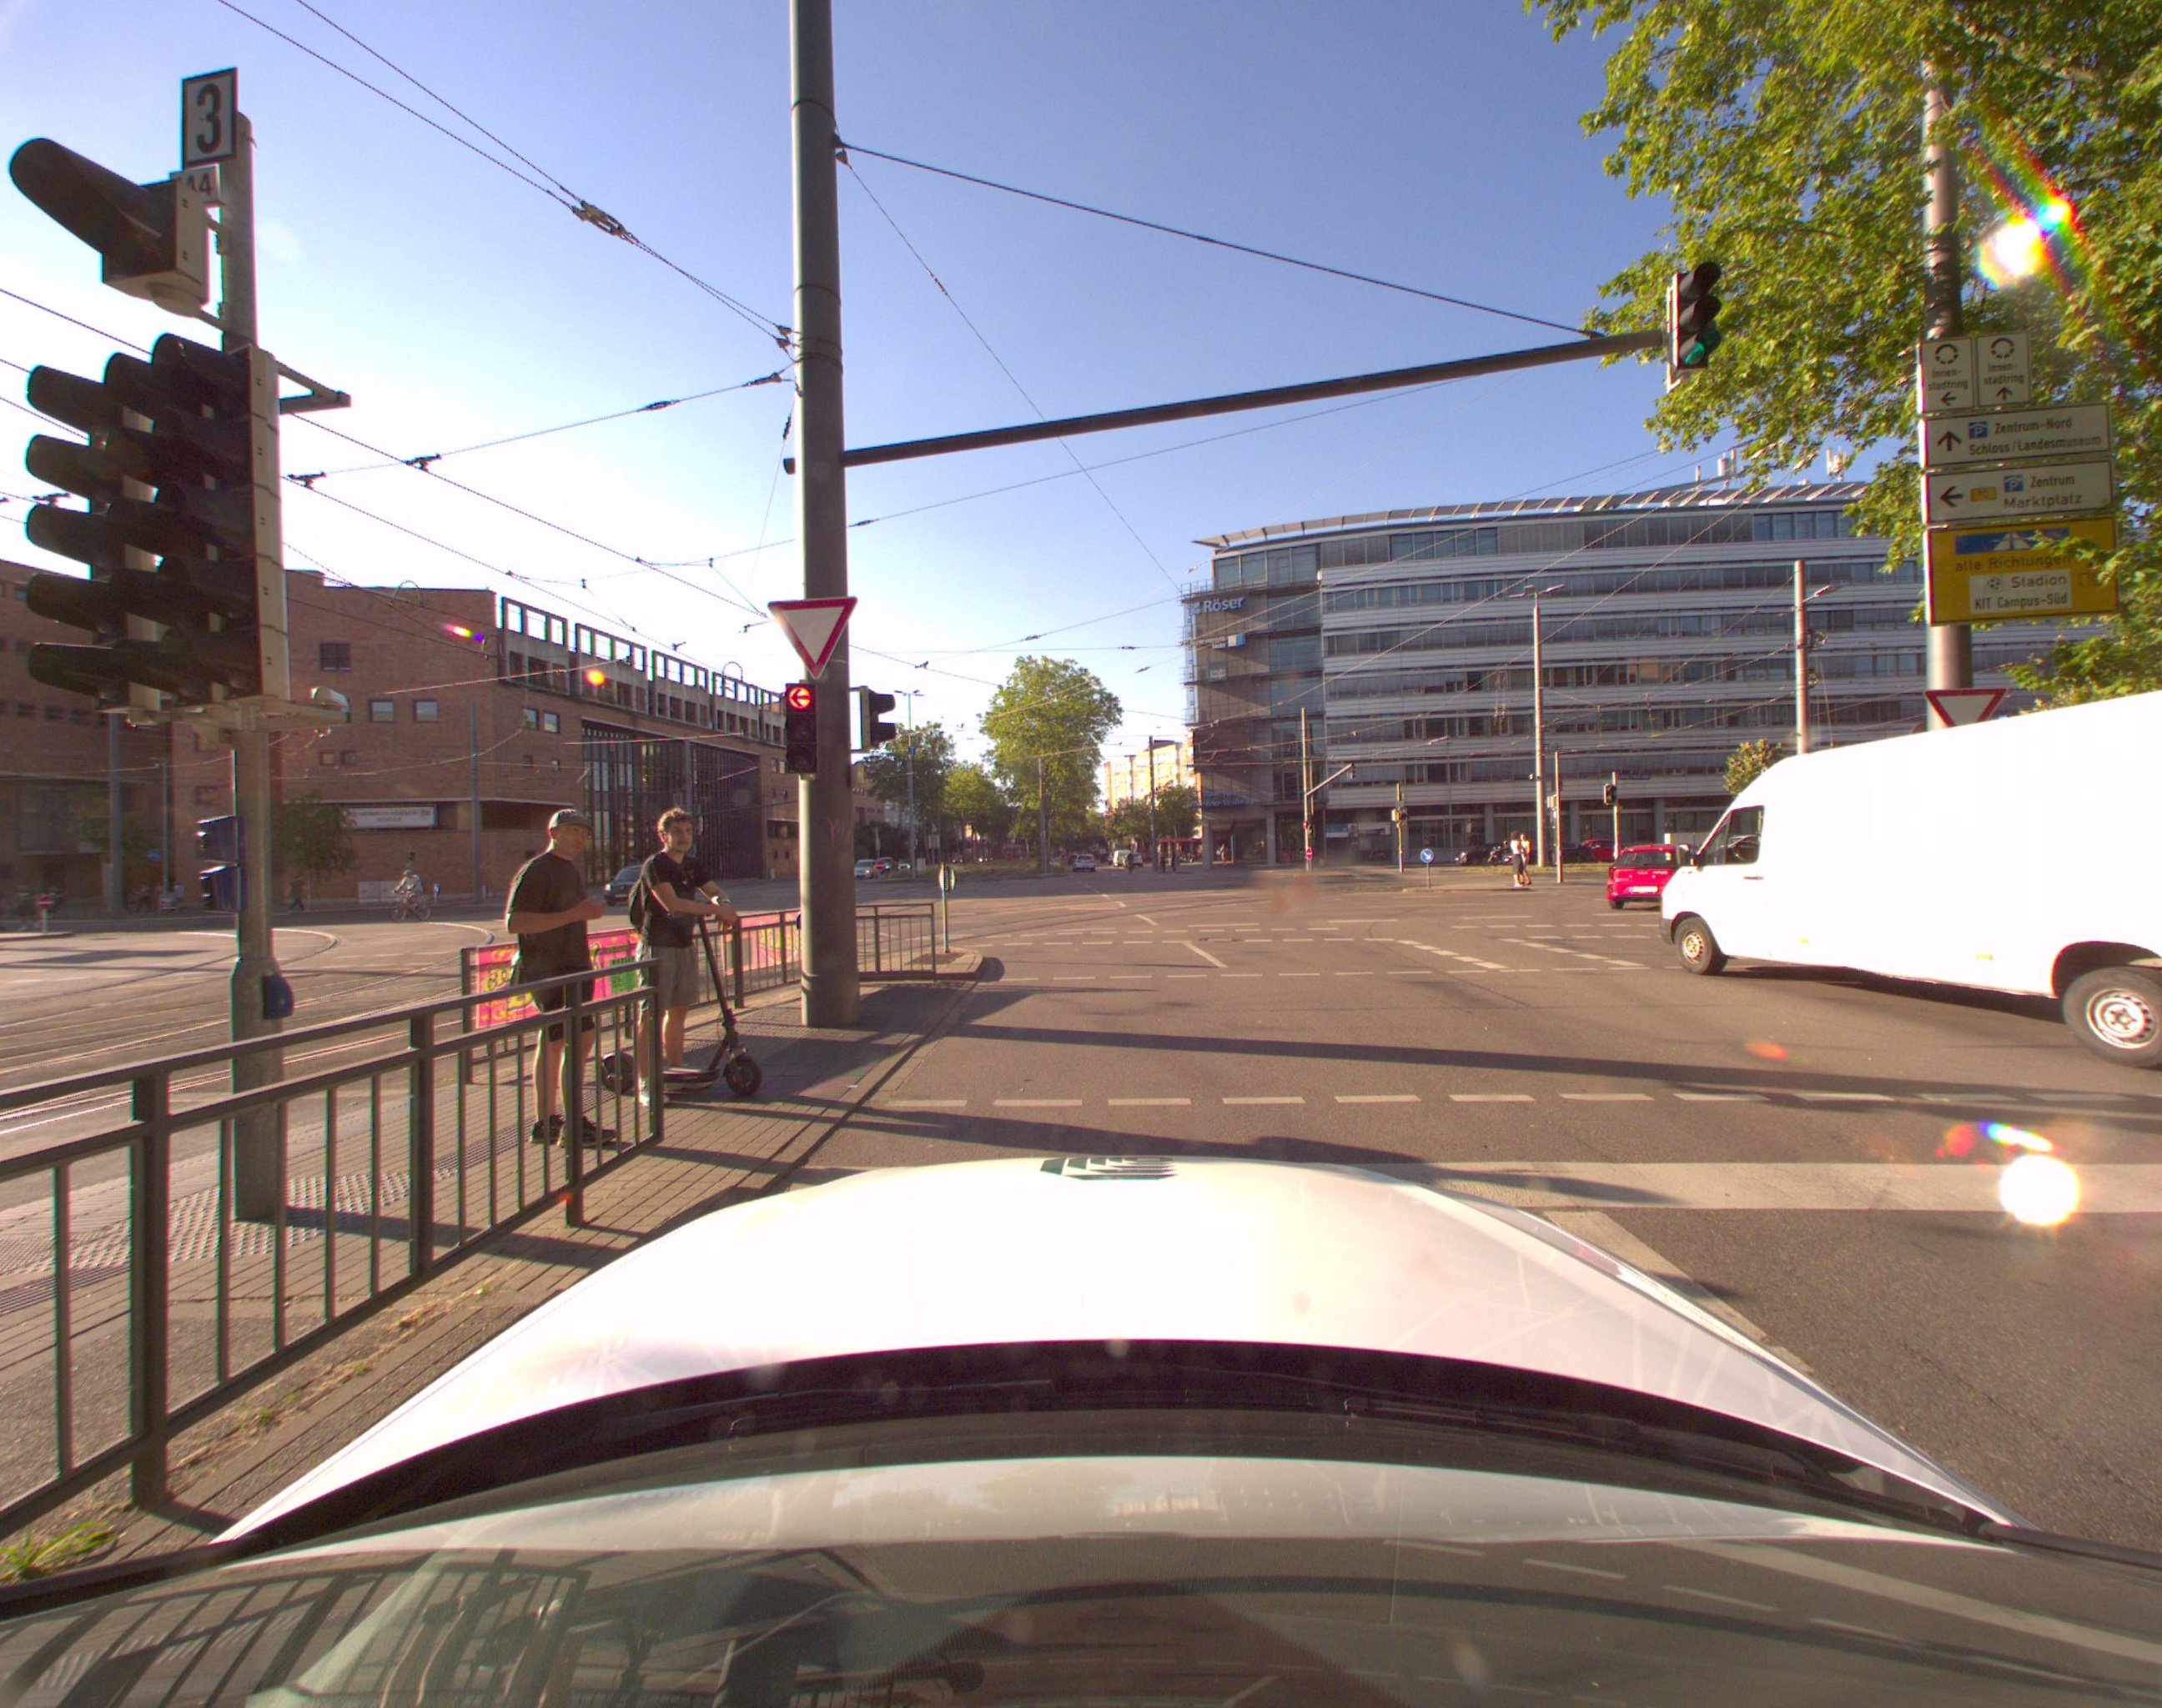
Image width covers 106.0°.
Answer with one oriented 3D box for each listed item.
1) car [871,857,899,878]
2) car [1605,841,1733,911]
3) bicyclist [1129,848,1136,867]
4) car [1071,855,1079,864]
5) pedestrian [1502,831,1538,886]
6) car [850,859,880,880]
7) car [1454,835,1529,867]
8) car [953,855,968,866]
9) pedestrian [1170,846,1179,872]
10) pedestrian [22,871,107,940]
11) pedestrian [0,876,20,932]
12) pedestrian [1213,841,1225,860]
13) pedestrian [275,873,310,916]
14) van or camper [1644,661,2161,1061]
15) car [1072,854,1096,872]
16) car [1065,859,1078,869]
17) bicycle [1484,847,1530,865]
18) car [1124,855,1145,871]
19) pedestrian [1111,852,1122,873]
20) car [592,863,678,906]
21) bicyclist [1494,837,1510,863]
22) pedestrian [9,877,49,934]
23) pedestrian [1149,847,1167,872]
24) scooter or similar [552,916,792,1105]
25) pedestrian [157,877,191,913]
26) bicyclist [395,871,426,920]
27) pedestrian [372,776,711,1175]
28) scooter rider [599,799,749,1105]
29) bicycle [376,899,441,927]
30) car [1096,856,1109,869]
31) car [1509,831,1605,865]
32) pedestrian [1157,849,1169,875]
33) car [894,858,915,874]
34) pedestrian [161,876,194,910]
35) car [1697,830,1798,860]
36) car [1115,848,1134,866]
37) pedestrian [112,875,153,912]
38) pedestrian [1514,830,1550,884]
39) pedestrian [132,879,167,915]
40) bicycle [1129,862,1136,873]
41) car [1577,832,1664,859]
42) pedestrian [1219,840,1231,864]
[{"bbox_3d":[-18.117,1.227,75.448,1.819,1.790,3.994,-2,0,-4],"label":"car"},{"bbox_3d":[13.661,0.447,18.859,3.614,1.459,1.478,-1,0,-39],"label":"car"},{"bbox_3d":[3.864,0.256,61.409,0.485,1.439,0.616,-1,0,1],"label":"bicyclist"},{"bbox_3d":[-1.594,1.536,229.775,1.985,2.015,4.000,0,-10,3],"label":"car"},{"bbox_3d":[14.406,0.130,26.722,0.743,1.759,0.674,-2,0,-23],"label":"pedestrian"},{"bbox_3d":[-17.979,1.276,67.892,1.618,1.577,3.994,-2,0,-4],"label":"car"},{"bbox_3d":[27.205,-0.195,54.017,3.972,2.014,2.001,0,-1,2],"label":"car"},{"bbox_3d":[-23.334,1.171,157.684,1.867,2.013,4.477,-2,0,4],"label":"car"},{"bbox_3d":[7.164,0.402,62.531,0.584,2.014,0.620,0,-1,2],"label":"pedestrian"},{"bbox_3d":[-30.812,1.548,24.717,1.029,2.014,1.208,0,-1,1],"label":"pedestrian"},{"bbox_3d":[-39.111,1.817,29.449,0.615,2.013,0.726,-2,0,-28],"label":"pedestrian"},{"bbox_3d":[16.225,-0.376,95.633,1.305,2.190,1.173,0,-1,8],"label":"pedestrian"},{"bbox_3d":[-35.802,1.816,36.979,0.721,1.902,0.875,0,-1,-1],"label":"pedestrian"},{"bbox_3d":[8.107,0.017,7.098,1.992,2.614,6.501,-2,0,2],"label":"van or camper"},{"bbox_3d":[0.268,0.738,68.218,1.740,1.418,4.004,-1,0,4],"label":"car"},{"bbox_3d":[-1.429,1.387,116.103,1.759,1.404,4.293,-1,0,-2],"label":"car"},{"bbox_3d":[25.663,0.133,49.062,2.397,1.022,0.638,-2,0,6],"label":"bicycle"},{"bbox_3d":[5.415,0.932,82.833,2.022,1.596,4.001,0,-1,2],"label":"car"},{"bbox_3d":[2.940,0.728,67.673,0.866,1.707,0.794,0,-1,1],"label":"pedestrian"},{"bbox_3d":[-19.642,1.304,36.071,1.865,1.762,3.992,0,0,-5],"label":"car"},{"bbox_3d":[25.377,-0.255,49.086,0.660,1.503,0.614,-2,0,7],"label":"bicyclist"},{"bbox_3d":[-38.558,1.882,29.849,0.615,2.013,0.726,-2,0,-28],"label":"pedestrian"},{"bbox_3d":[6.261,0.437,66.098,1.337,1.950,1.011,-2,-1,1],"label":"pedestrian"},{"bbox_3d":[-2.622,0.988,5.303,1.196,1.081,0.649,-2,0,5],"label":"scooter or similar"},{"bbox_3d":[-53.704,2.444,48.216,1.003,2.052,0.850,-2,0,-1],"label":"pedestrian"},{"bbox_3d":[-22.641,1.396,27.511,0.585,1.625,0.514,-2,0,-2],"label":"bicyclist"},{"bbox_3d":[-2.796,0.595,4.337,1.161,1.884,0.856,-2,0,6],"label":"pedestrian"},{"bbox_3d":[-2.636,0.607,5.326,0.563,1.853,0.681,-2,-2,6],"label":"scooter rider"},{"bbox_3d":[-22.630,1.965,27.465,0.588,0.771,1.966,-2,0,-2],"label":"bicycle"},{"bbox_3d":[3.330,1.288,126.850,1.986,2.014,4.001,0,-1,2],"label":"car"},{"bbox_3d":[26.916,-0.339,46.156,4.234,1.723,1.886,-2,0,4],"label":"car"},{"bbox_3d":[6.474,0.610,64.356,0.846,2.014,0.707,0,-1,-1],"label":"pedestrian"},{"bbox_3d":[-18.599,1.223,85.960,1.673,1.607,3.994,0,-1,-4],"label":"car"},{"bbox_3d":[-55.164,2.377,49.743,1.003,2.052,0.850,-2,0,-1],"label":"pedestrian"},{"bbox_3d":[37.012,-0.456,45.298,3.968,1.596,1.884,0,-1,5],"label":"car"},{"bbox_3d":[4.719,0.340,89.687,1.986,2.014,4.001,0,-1,2],"label":"car"},{"bbox_3d":[-54.481,2.261,46.788,1.155,2.013,0.910,-2,0,-2],"label":"pedestrian"},{"bbox_3d":[15.095,0.105,27.269,0.740,1.759,0.682,-2,0,-14],"label":"pedestrian"},{"bbox_3d":[-55.154,2.545,48.242,1.003,2.052,0.850,-2,0,-1],"label":"pedestrian"},{"bbox_3d":[3.881,1.022,61.415,0.489,0.788,1.862,-1,0,2],"label":"bicycle"},{"bbox_3d":[32.060,-0.510,48.465,3.966,1.552,1.800,0,-1,6],"label":"car"},{"bbox_3d":[12.122,-0.181,68.561,0.866,2.014,0.794,0,-2,1],"label":"pedestrian"}]
